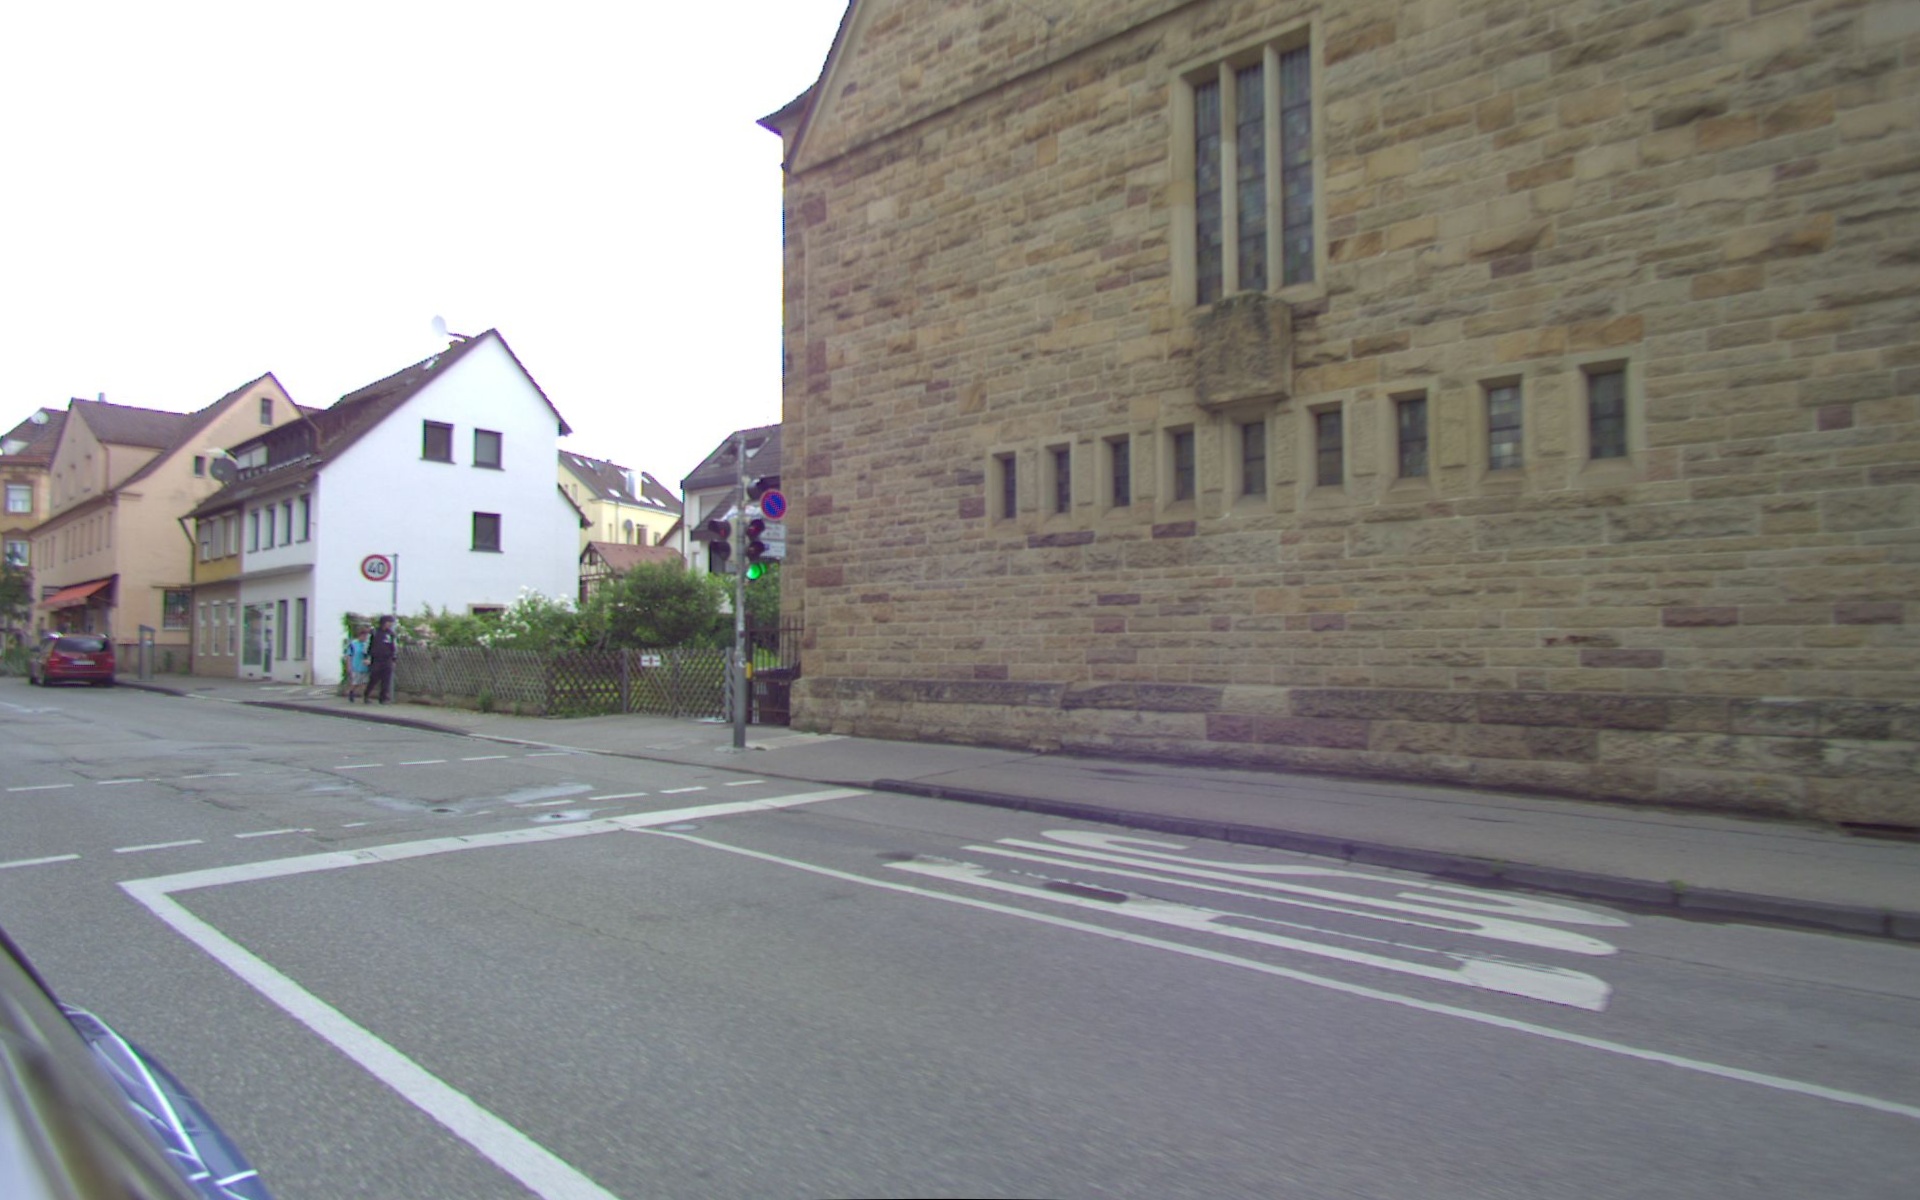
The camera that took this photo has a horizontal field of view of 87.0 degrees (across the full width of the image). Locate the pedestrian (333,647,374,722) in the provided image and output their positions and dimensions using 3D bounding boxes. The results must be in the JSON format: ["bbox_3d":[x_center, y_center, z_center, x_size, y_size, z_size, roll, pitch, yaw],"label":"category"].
[{"bbox_3d":[-13.071,1.802,21.807,0.696,1.566,0.565,-3,-2,41],"label":"pedestrian"}]

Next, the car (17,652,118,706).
[{"bbox_3d":[-28.187,2.460,31.923,4.447,1.586,1.685,-2,-5,40],"label":"car"}]

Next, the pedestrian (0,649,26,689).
[{"bbox_3d":[-42.597,3.089,45.501,0.982,1.768,0.731,-3,-4,42],"label":"pedestrian"}]

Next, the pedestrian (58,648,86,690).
[{"bbox_3d":[-36.090,2.803,41.116,0.757,1.641,0.723,-1,-1,37],"label":"pedestrian"}]

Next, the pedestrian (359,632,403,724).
[{"bbox_3d":[-12.120,1.618,21.187,0.696,1.862,0.565,-3,-1,41],"label":"pedestrian"}]
